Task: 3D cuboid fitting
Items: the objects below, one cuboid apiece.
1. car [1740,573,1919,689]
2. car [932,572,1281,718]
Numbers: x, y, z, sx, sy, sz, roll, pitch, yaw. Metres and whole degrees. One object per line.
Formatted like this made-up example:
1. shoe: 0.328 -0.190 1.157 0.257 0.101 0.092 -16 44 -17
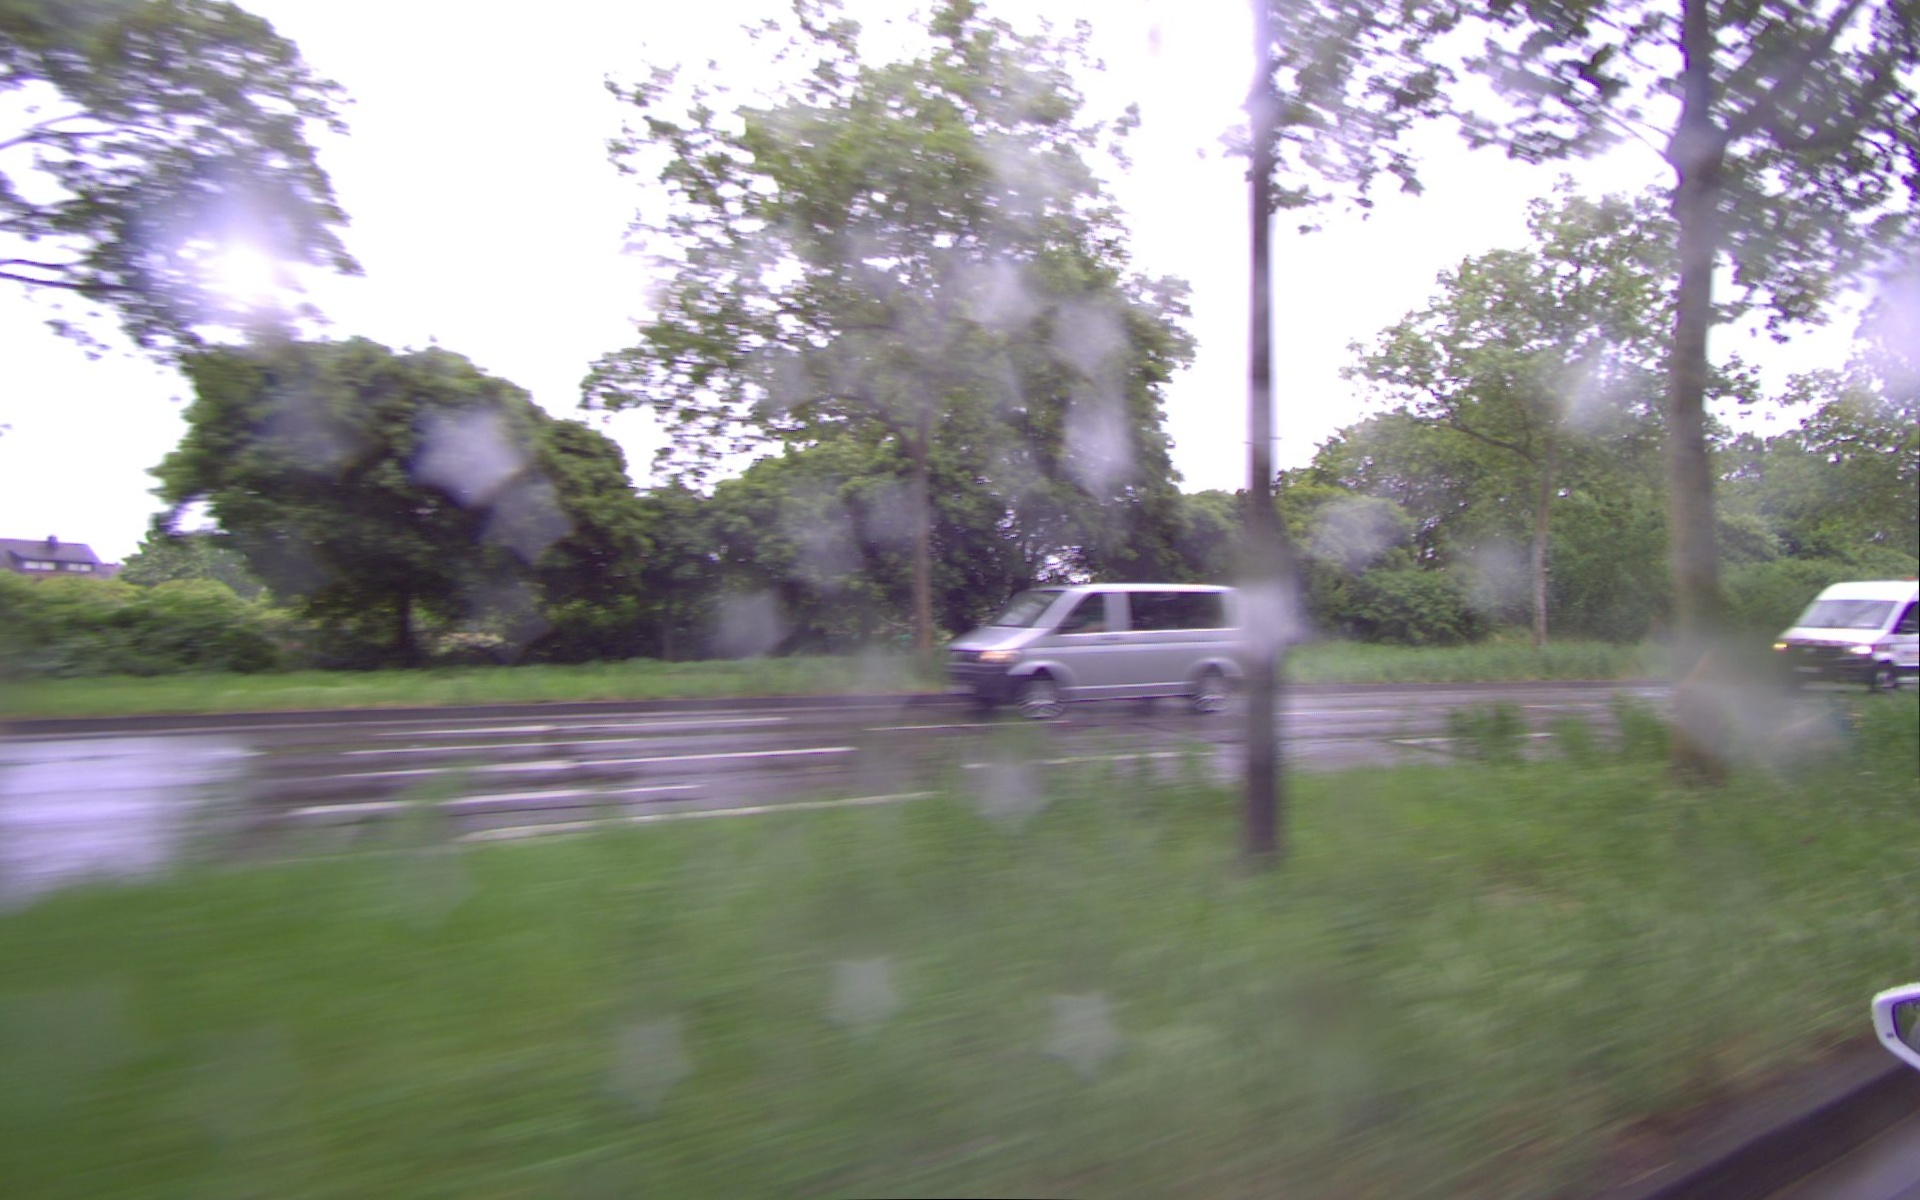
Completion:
1. car: 21.513 0.731 23.406 6.261 2.459 2.276 1 -1 -19
2. car: 2.298 0.659 15.515 5.126 1.966 1.929 1 -1 -25
